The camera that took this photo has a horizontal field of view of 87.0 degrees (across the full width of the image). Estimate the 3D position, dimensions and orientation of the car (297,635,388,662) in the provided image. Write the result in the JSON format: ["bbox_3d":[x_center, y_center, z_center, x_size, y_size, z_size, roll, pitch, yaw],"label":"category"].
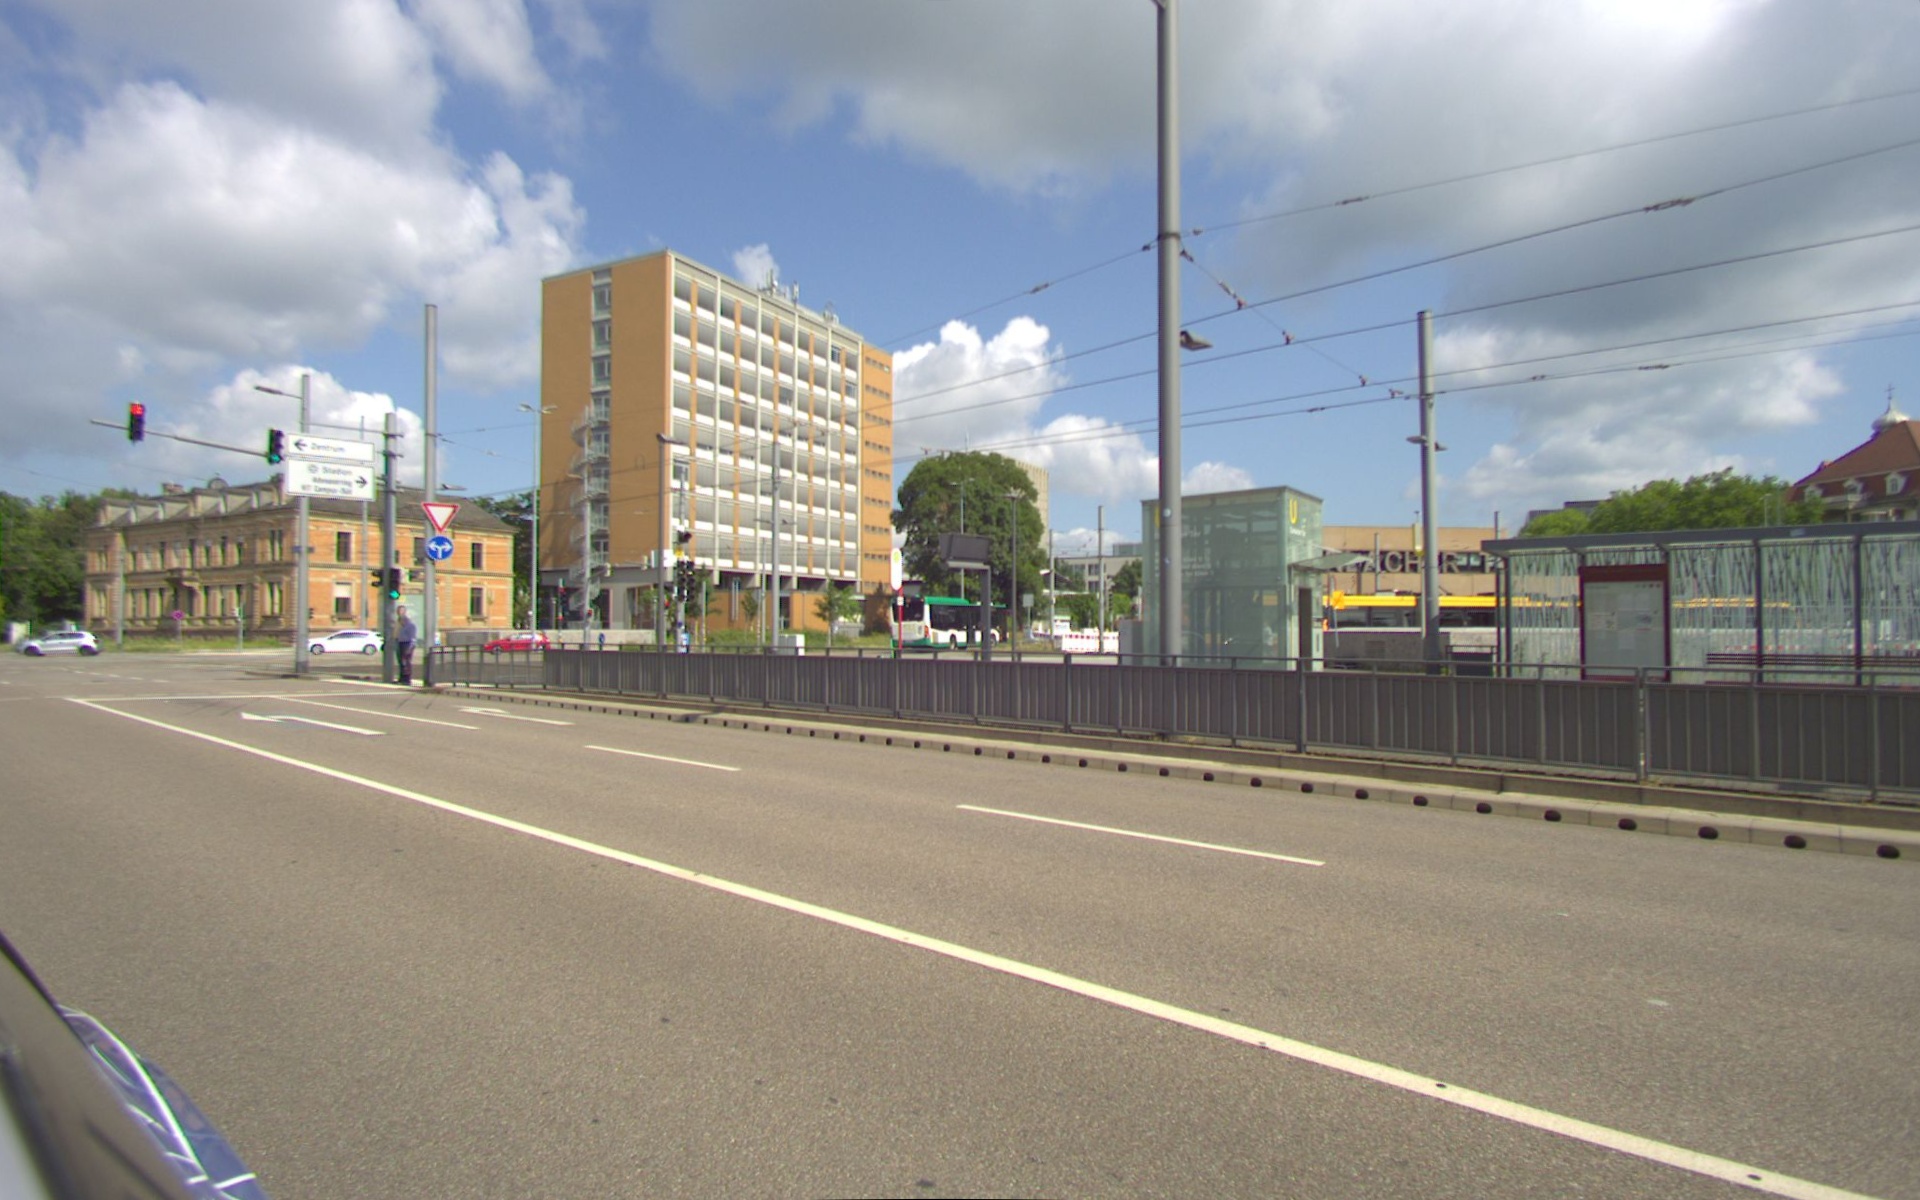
[{"bbox_3d":[-37.206,2.919,61.040,4.595,1.440,1.768,0,-4,-32],"label":"car"}]

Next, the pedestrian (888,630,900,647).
[{"bbox_3d":[-6.115,3.576,93.808,0.947,1.590,0.766,-1,-2,11],"label":"pedestrian"}]

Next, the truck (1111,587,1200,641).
[{"bbox_3d":[15.497,1.186,79.811,7.950,4.039,2.839,2,-3,-44],"label":"truck"}]

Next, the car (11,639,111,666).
[{"bbox_3d":[-51.237,3.004,57.745,4.009,1.396,1.593,0,-4,-30],"label":"car"}]

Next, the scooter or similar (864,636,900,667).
[{"bbox_3d":[-3.033,2.007,39.348,1.164,1.175,0.804,-1,-2,31],"label":"scooter or similar"}]

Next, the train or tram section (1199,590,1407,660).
[{"bbox_3d":[19.232,1.432,57.111,10.446,3.507,3.328,-2,-3,-5],"label":"train or tram section"}]

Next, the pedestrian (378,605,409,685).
[{"bbox_3d":[-14.546,1.151,25.982,0.576,2.029,0.422,-1,-2,29],"label":"pedestrian"}]

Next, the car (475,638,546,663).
[{"bbox_3d":[-29.281,3.280,65.983,3.997,1.479,1.650,0,-4,-35],"label":"car"}]

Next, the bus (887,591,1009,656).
[{"bbox_3d":[-0.455,1.501,63.066,2.897,3.648,12.280,-1,-2,23],"label":"bus"}]

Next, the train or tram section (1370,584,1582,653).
[{"bbox_3d":[29.519,1.097,58.158,10.446,3.507,3.328,-2,-3,-5],"label":"train or tram section"}]

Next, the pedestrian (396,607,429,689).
[{"bbox_3d":[-13.823,1.209,25.553,0.513,2.029,0.498,-1,-2,29],"label":"pedestrian"}]
